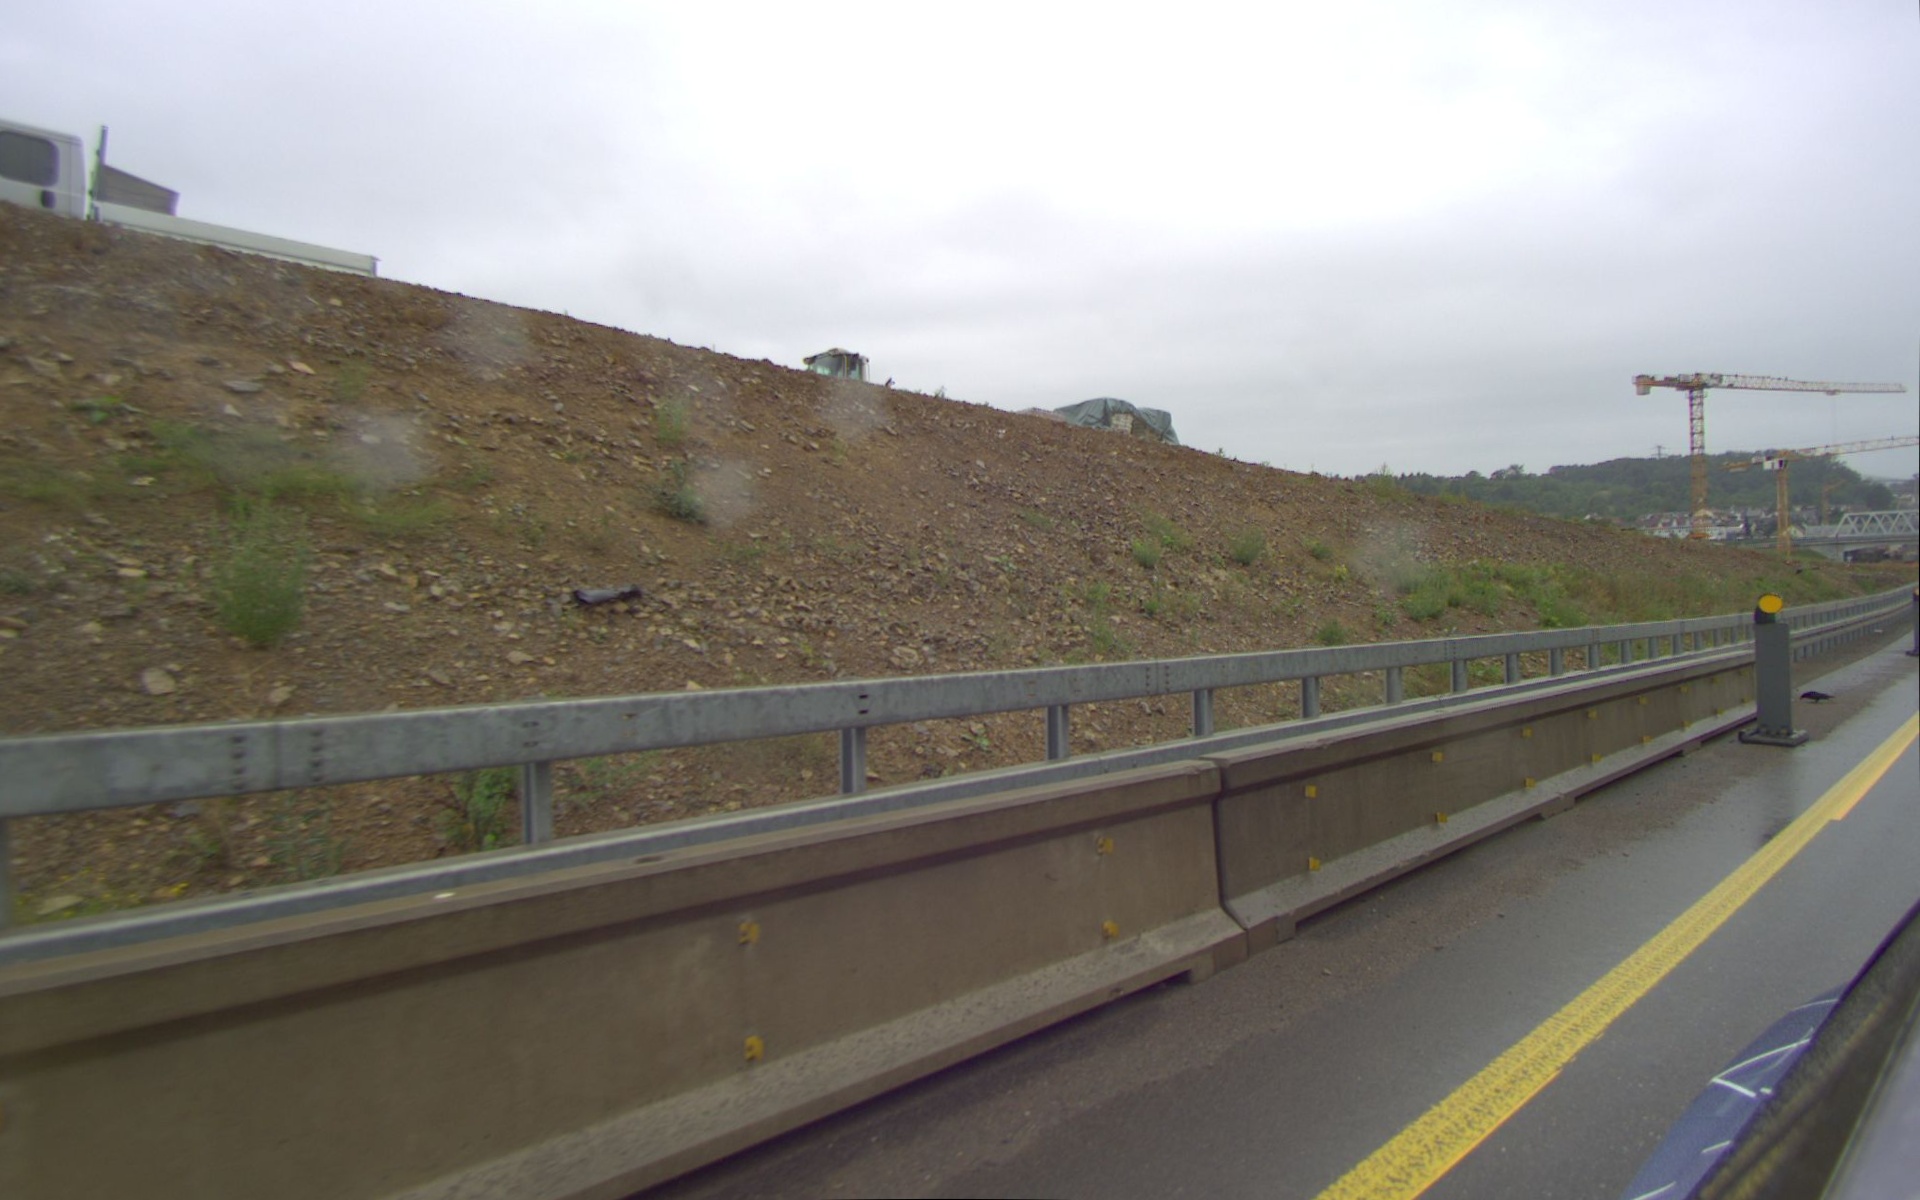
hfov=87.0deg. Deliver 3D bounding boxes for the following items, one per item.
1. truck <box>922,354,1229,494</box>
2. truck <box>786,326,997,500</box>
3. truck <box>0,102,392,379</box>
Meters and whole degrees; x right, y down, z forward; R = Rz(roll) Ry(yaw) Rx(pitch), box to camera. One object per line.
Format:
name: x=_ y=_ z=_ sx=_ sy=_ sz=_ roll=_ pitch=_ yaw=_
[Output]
truck: x=3.471 y=-4.622 z=28.297 sx=8.804 sy=2.910 sz=3.402 roll=-3 pitch=3 yaw=-40
truck: x=-1.878 y=-5.190 z=29.467 sx=5.880 sy=4.269 sz=2.376 roll=-3 pitch=3 yaw=-43
truck: x=-12.114 y=-4.919 z=14.094 sx=6.869 sy=2.586 sz=2.648 roll=-3 pitch=3 yaw=-43
